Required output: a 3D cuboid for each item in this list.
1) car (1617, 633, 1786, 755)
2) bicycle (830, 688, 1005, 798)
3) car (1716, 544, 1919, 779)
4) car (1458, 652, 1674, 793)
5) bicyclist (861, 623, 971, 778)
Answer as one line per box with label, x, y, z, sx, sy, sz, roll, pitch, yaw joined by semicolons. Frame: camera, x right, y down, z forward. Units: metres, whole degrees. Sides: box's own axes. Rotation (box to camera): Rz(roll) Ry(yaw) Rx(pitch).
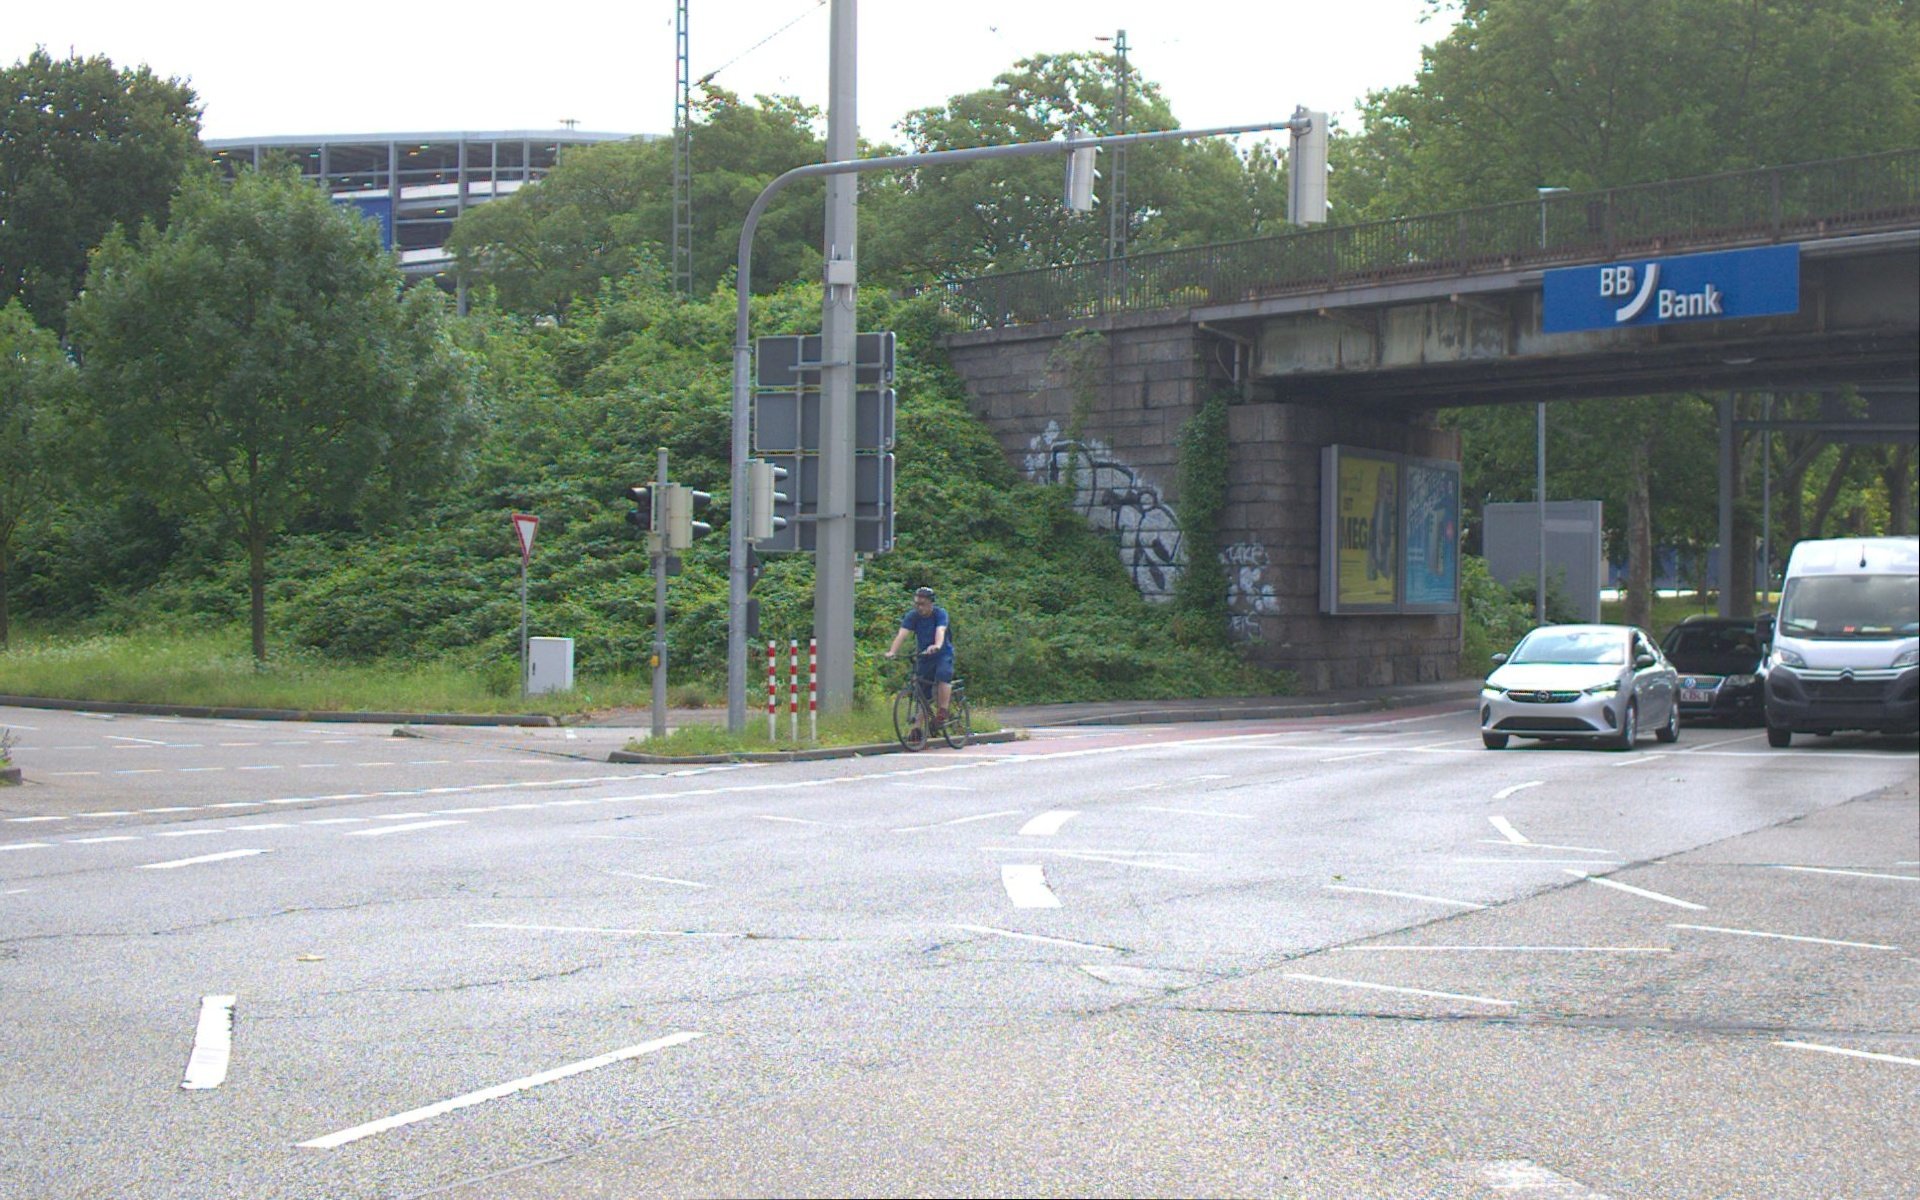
car;10.395;1.280;47.997;1.766;1.578;4.659;-1;-1;19
bicycle;-0.462;1.600;38.731;0.844;1.090;2.314;-4;-1;30
car;10.905;0.693;41.406;2.261;2.518;5.619;-4;-1;24
car;7.176;1.393;40.449;1.704;1.471;3.995;1;0;22
bicyclist;-0.494;1.128;38.712;0.844;1.673;0.822;-4;-1;30
